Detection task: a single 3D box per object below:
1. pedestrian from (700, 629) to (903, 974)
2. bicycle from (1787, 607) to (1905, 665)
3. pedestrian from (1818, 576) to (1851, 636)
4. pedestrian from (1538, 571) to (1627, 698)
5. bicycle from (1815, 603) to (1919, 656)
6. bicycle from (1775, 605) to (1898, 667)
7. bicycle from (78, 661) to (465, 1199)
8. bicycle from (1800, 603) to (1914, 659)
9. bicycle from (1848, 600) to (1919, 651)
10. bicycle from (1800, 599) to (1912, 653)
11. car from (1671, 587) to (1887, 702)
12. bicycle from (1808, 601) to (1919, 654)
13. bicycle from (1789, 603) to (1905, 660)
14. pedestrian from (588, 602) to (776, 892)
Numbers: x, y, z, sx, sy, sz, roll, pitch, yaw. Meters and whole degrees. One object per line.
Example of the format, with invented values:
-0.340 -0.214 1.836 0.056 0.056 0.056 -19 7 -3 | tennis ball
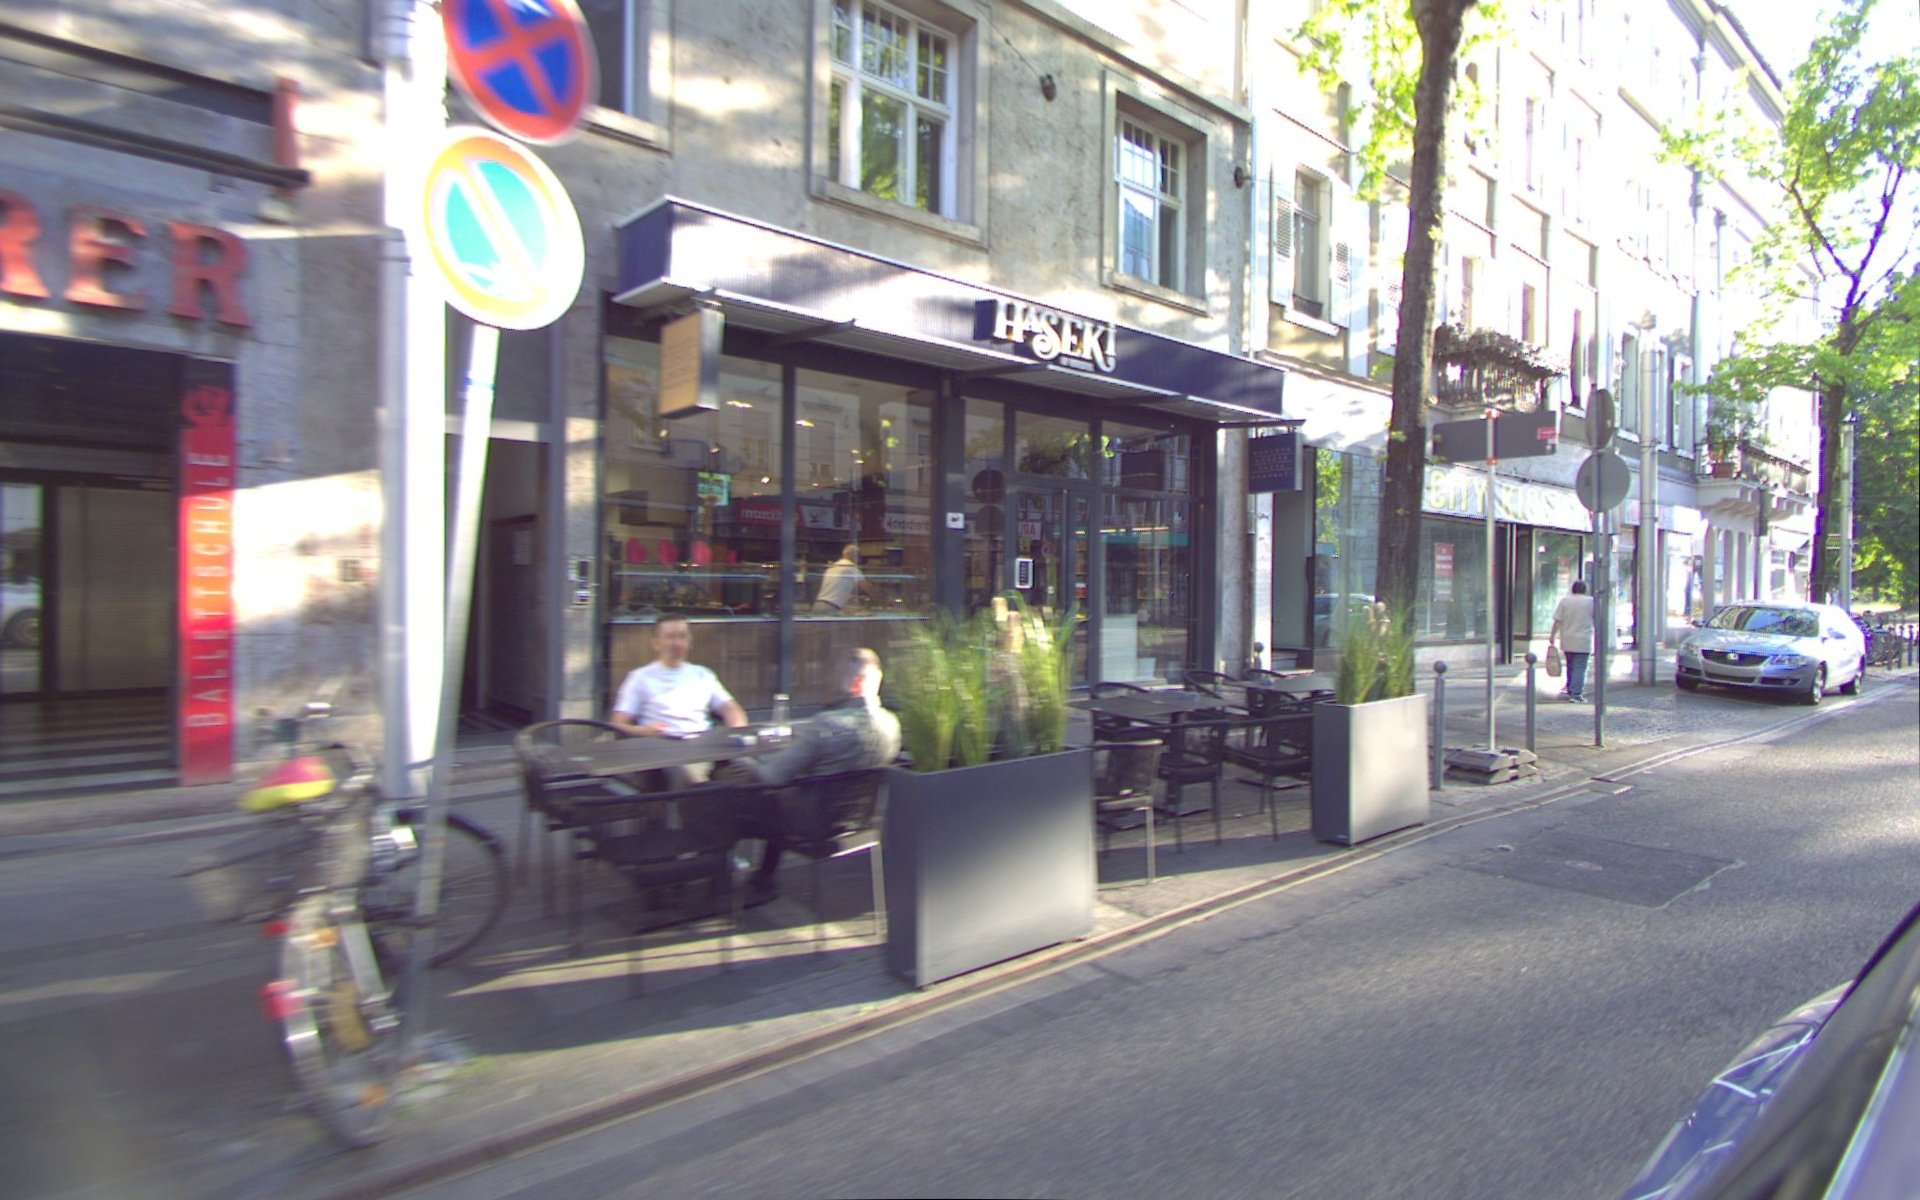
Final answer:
-0.707 0.791 4.393 0.575 1.281 0.820 0 1 -34 | pedestrian
19.320 0.761 22.096 0.552 1.169 1.871 -1 1 -37 | bicycle
30.630 0.193 35.448 0.842 2.039 0.832 0 1 40 | pedestrian
8.532 0.450 13.872 0.742 1.663 0.805 0 1 -39 | pedestrian
21.629 0.681 24.127 0.341 1.169 1.871 -1 1 -37 | bicycle
18.780 0.744 21.729 0.552 1.168 1.872 -1 4 -37 | bicycle
-1.939 0.860 3.110 0.535 1.152 1.736 0 3 -19 | bicycle
20.236 0.681 22.862 0.552 1.169 1.871 -1 1 -37 | bicycle
22.441 0.598 24.622 0.454 1.169 1.676 0 1 10 | bicycle
20.645 0.586 23.348 0.552 1.169 1.871 -1 1 -37 | bicycle
13.124 0.595 16.128 4.343 1.457 1.781 -1 4 -39 | car
21.204 0.628 23.782 0.552 1.169 1.871 -1 1 -37 | bicycle
19.722 0.676 22.537 0.552 1.169 1.871 -1 1 -37 | bicycle
-1.456 0.722 5.402 0.699 1.404 0.744 1 0 13 | pedestrian
